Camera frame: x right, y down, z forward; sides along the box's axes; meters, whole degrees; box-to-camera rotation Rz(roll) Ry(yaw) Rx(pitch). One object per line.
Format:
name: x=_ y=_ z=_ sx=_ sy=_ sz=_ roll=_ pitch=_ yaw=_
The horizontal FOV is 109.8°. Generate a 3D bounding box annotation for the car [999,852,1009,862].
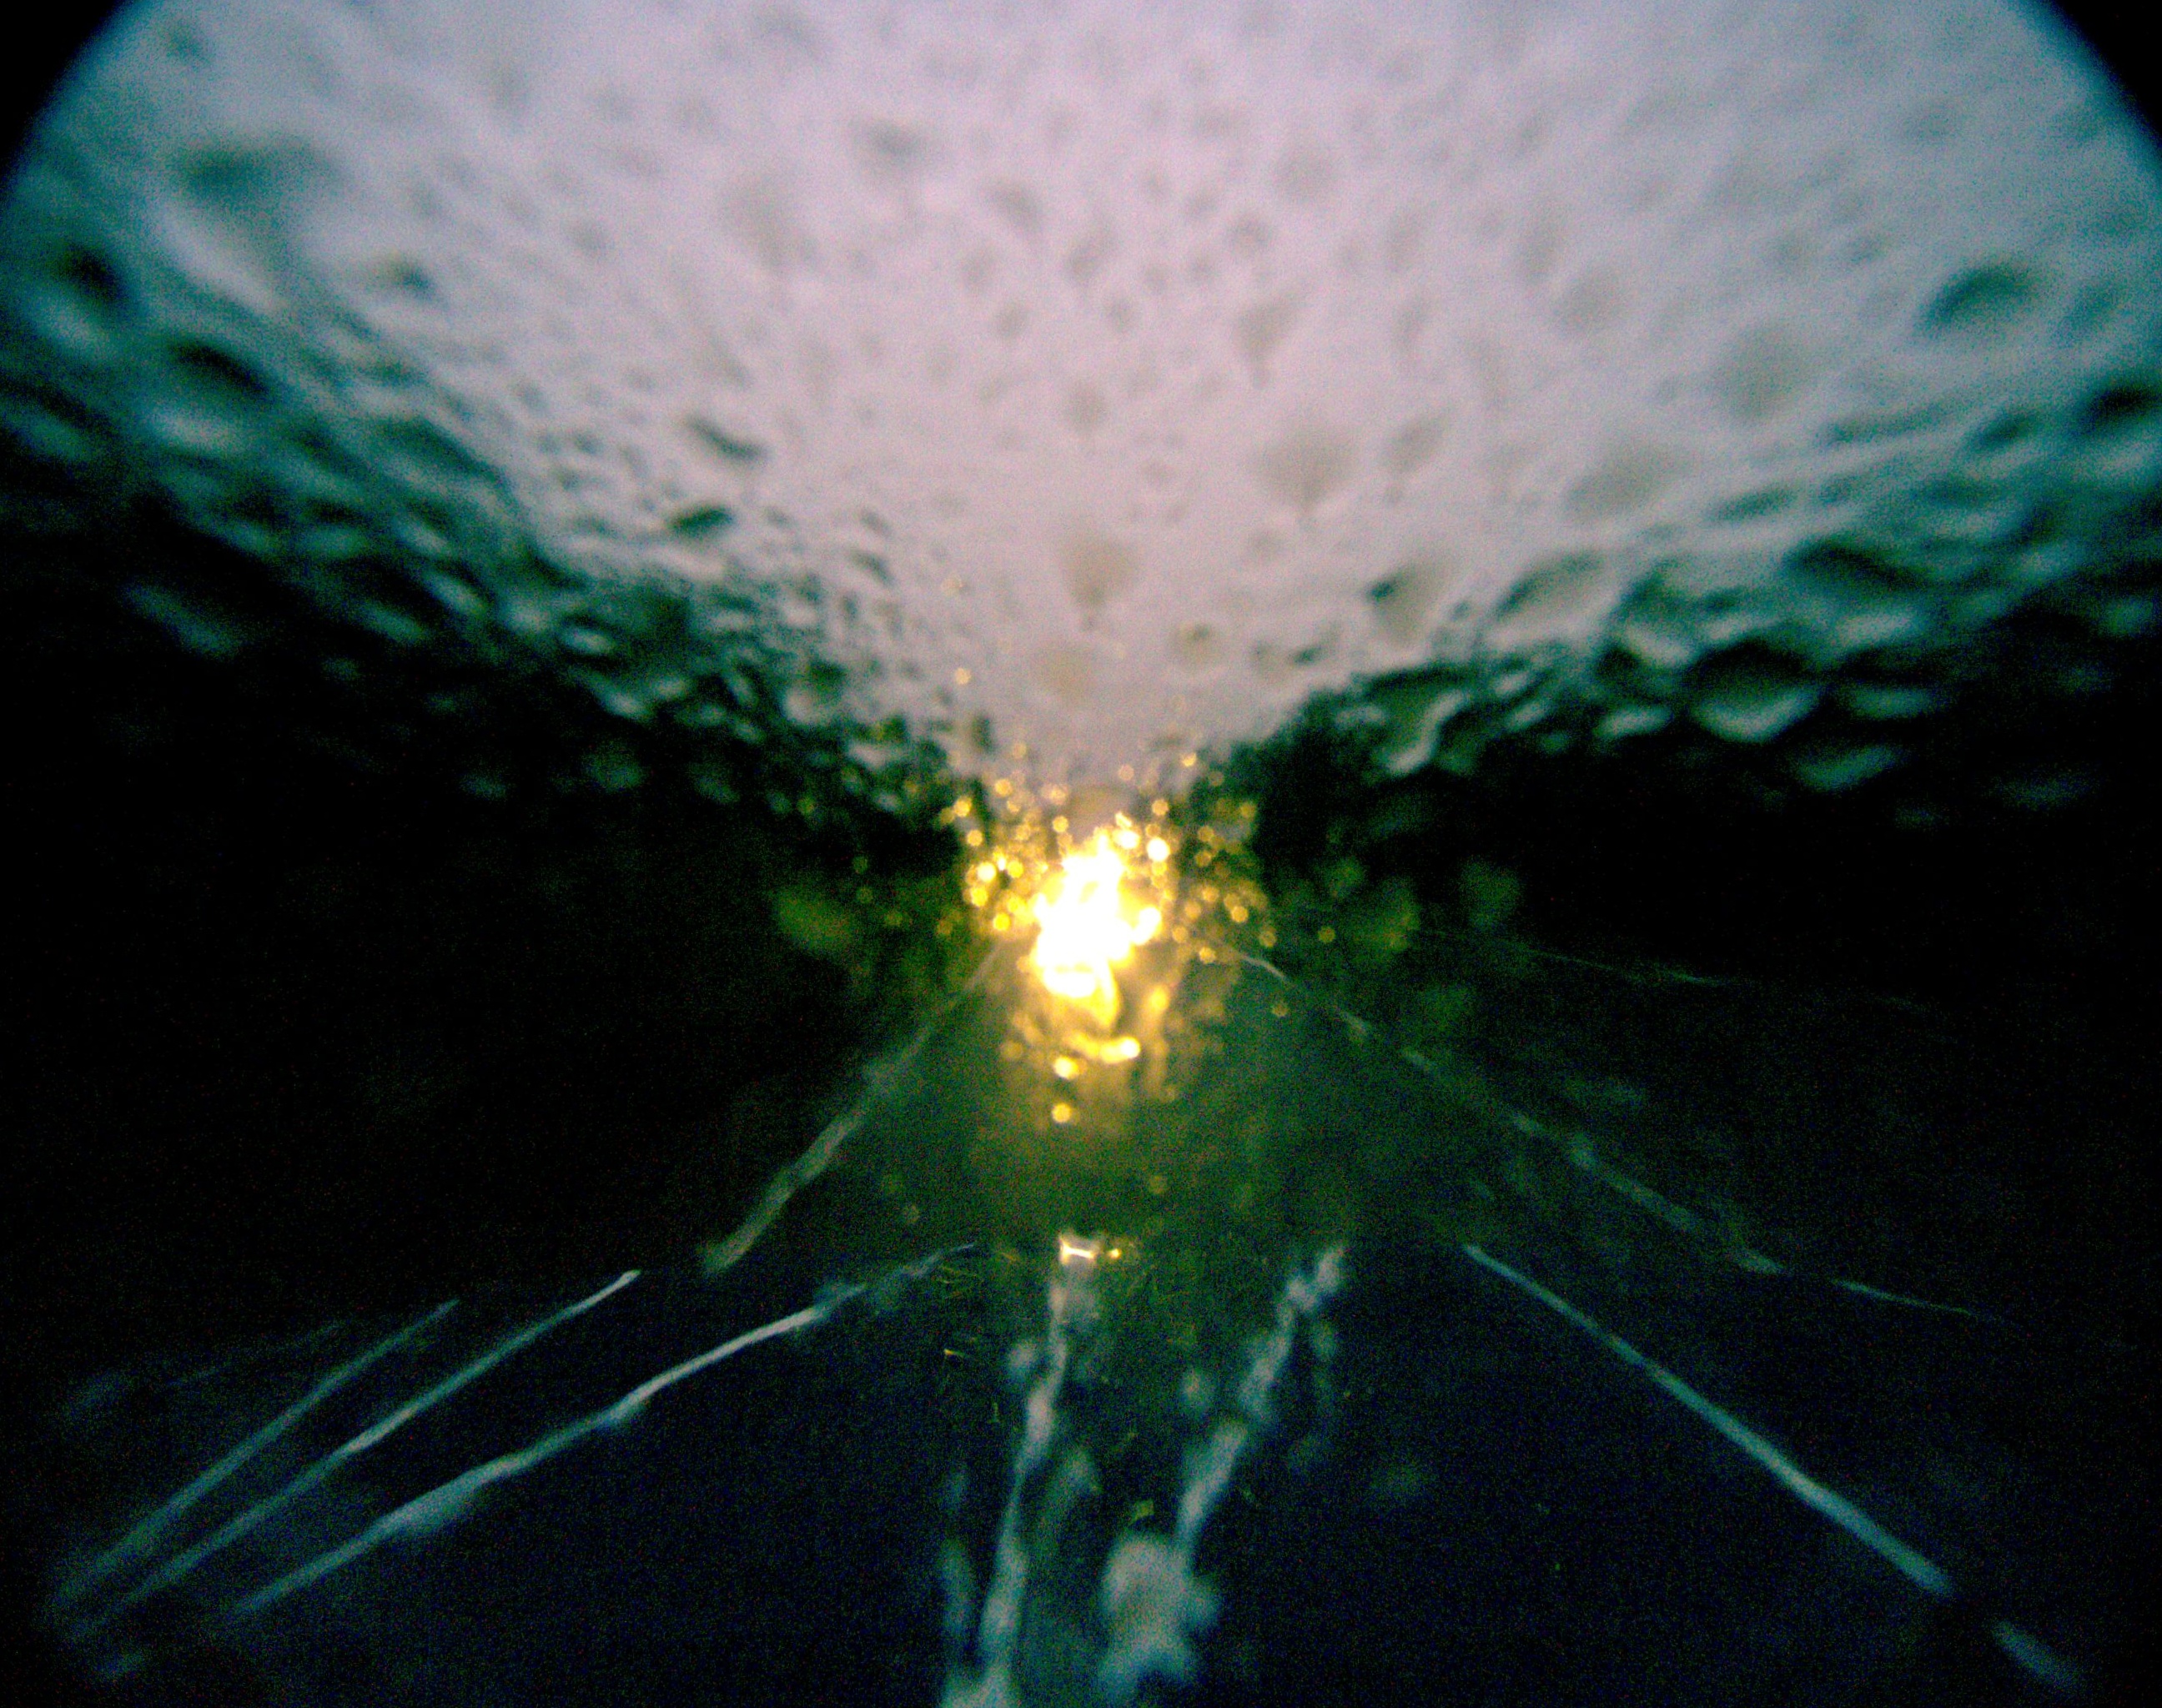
car: x=-15.732 y=0.563 z=155.220 sx=1.703 sy=1.721 sz=3.995 roll=-2 pitch=2 yaw=-9

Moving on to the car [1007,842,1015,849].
car: x=-19.603 y=-2.391 z=212.839 sx=1.908 sy=1.638 sz=4.723 roll=-3 pitch=0 yaw=-9

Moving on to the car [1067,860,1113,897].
car: x=0.325 y=1.023 z=33.633 sx=1.850 sy=1.429 sz=4.244 roll=1 pitch=0 yaw=-2

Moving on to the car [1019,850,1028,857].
car: x=-13.307 y=-0.119 z=176.336 sx=1.810 sy=1.445 sz=4.375 roll=-2 pitch=1 yaw=-9
